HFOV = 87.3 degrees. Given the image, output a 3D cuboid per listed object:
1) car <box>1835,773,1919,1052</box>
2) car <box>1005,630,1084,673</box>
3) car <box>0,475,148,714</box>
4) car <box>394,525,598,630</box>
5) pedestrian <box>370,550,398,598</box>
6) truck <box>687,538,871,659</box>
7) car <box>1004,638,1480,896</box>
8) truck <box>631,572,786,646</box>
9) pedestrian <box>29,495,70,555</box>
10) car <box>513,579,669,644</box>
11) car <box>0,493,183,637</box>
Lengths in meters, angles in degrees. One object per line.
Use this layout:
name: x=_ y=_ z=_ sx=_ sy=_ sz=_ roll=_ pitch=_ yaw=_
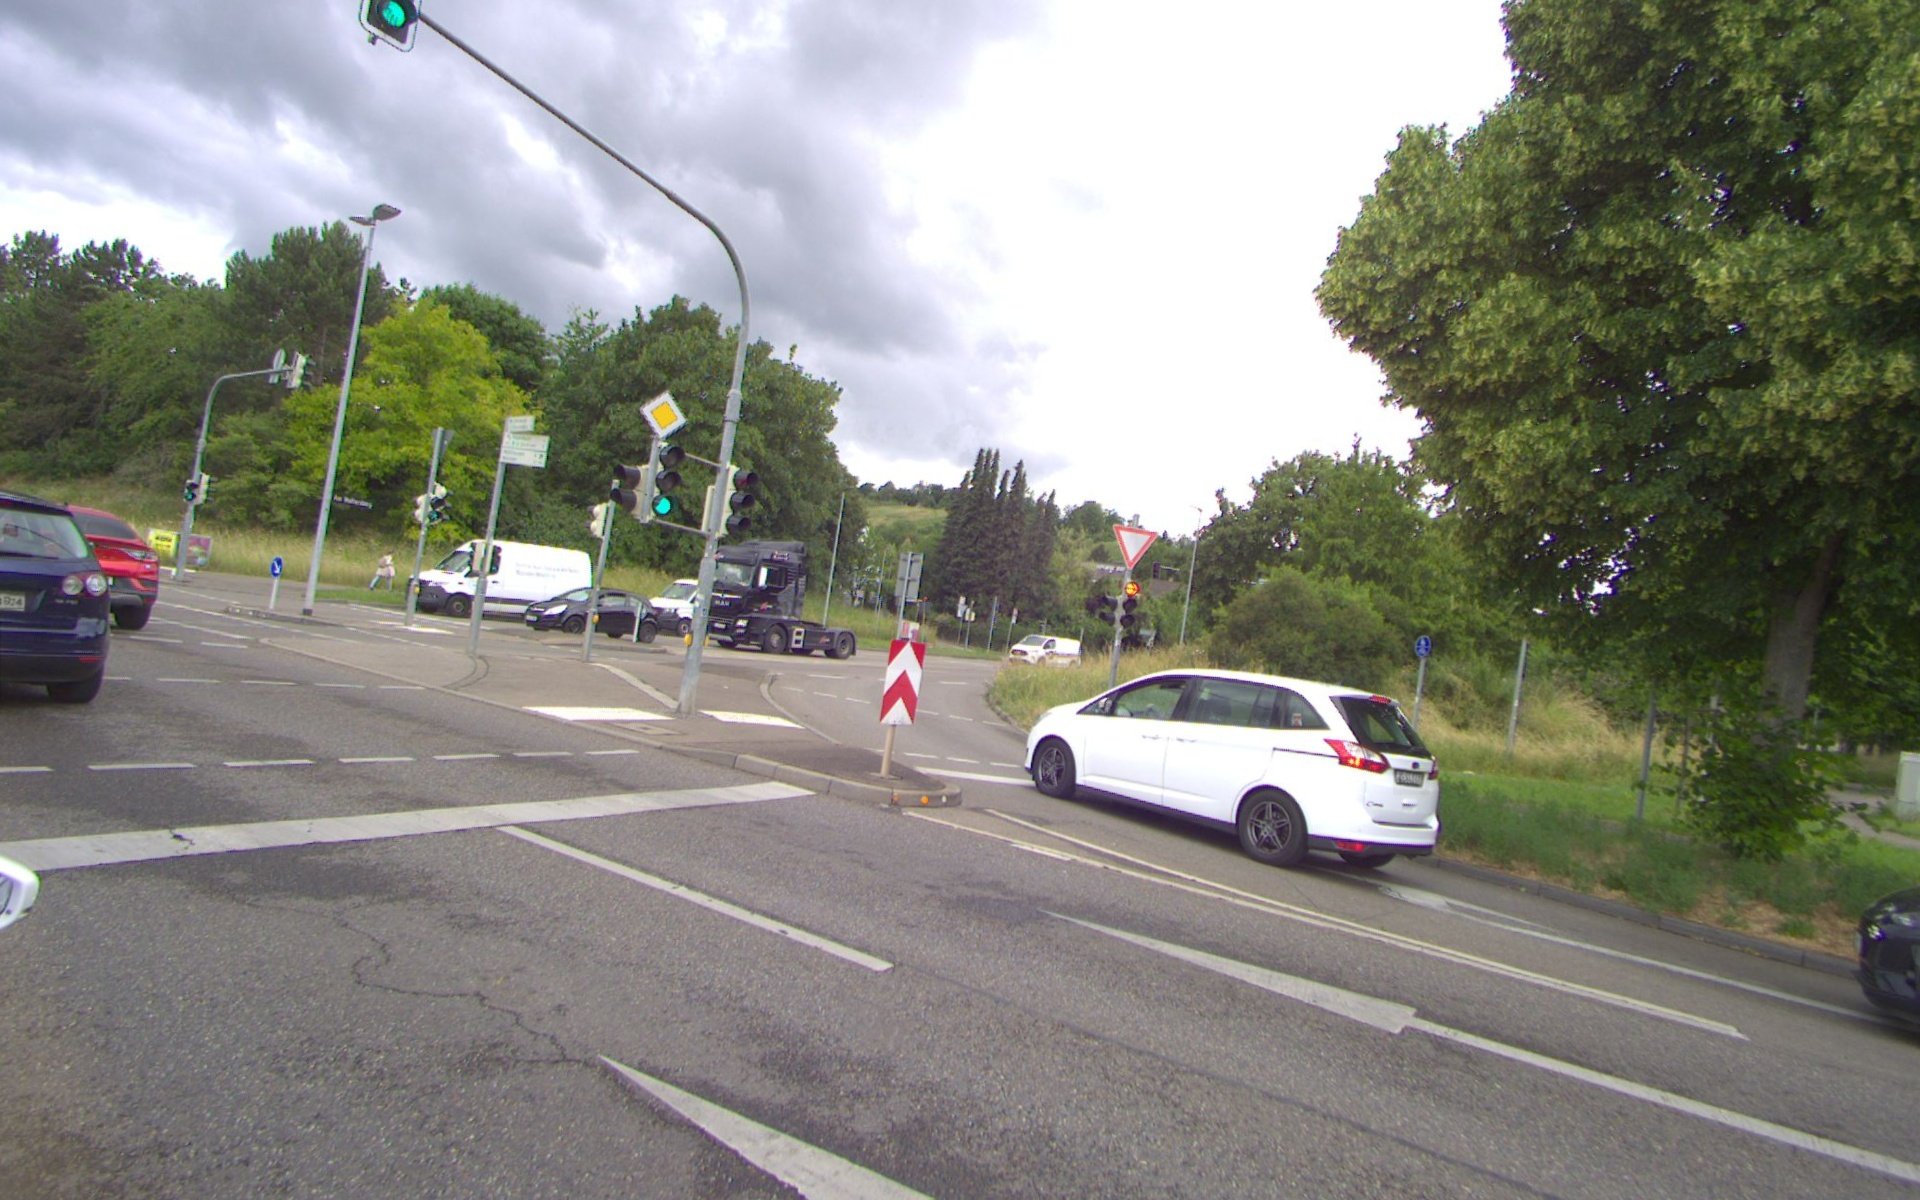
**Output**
car: x=7.151 y=2.031 z=5.378 sx=3.511 sy=1.521 sz=1.605 roll=6 pitch=-5 yaw=38
car: x=4.915 y=2.986 z=57.994 sx=1.971 sy=1.927 sz=4.945 roll=6 pitch=-3 yaw=39
car: x=-8.236 y=-0.220 z=7.789 sx=3.930 sy=1.617 sz=1.668 roll=6 pitch=-2 yaw=31
car: x=-15.307 y=-0.661 z=33.600 sx=1.968 sy=2.660 sz=5.814 roll=6 pitch=-2 yaw=34
pedestrian: x=-20.733 y=-0.939 z=36.199 sx=0.640 sy=1.630 sz=0.707 roll=8 pitch=-1 yaw=-34
truck: x=-6.211 y=0.054 z=35.395 sx=2.648 sy=3.527 sz=6.004 roll=6 pitch=-1 yaw=34
car: x=2.595 y=1.515 z=10.244 sx=1.751 sy=1.673 sz=4.325 roll=10 pitch=-3 yaw=-37
truck: x=-10.135 y=0.437 z=41.067 sx=2.128 sy=2.255 sz=6.028 roll=6 pitch=-2 yaw=35
pedestrian: x=-27.063 y=-2.224 z=29.915 sx=0.703 sy=1.681 sz=0.644 roll=6 pitch=-1 yaw=39
car: x=-10.525 y=0.379 z=28.937 sx=1.669 sy=1.353 sz=3.882 roll=6 pitch=-3 yaw=34
car: x=-12.559 y=-0.599 z=13.497 sx=4.304 sy=1.548 sz=1.851 roll=7 pitch=-2 yaw=32
